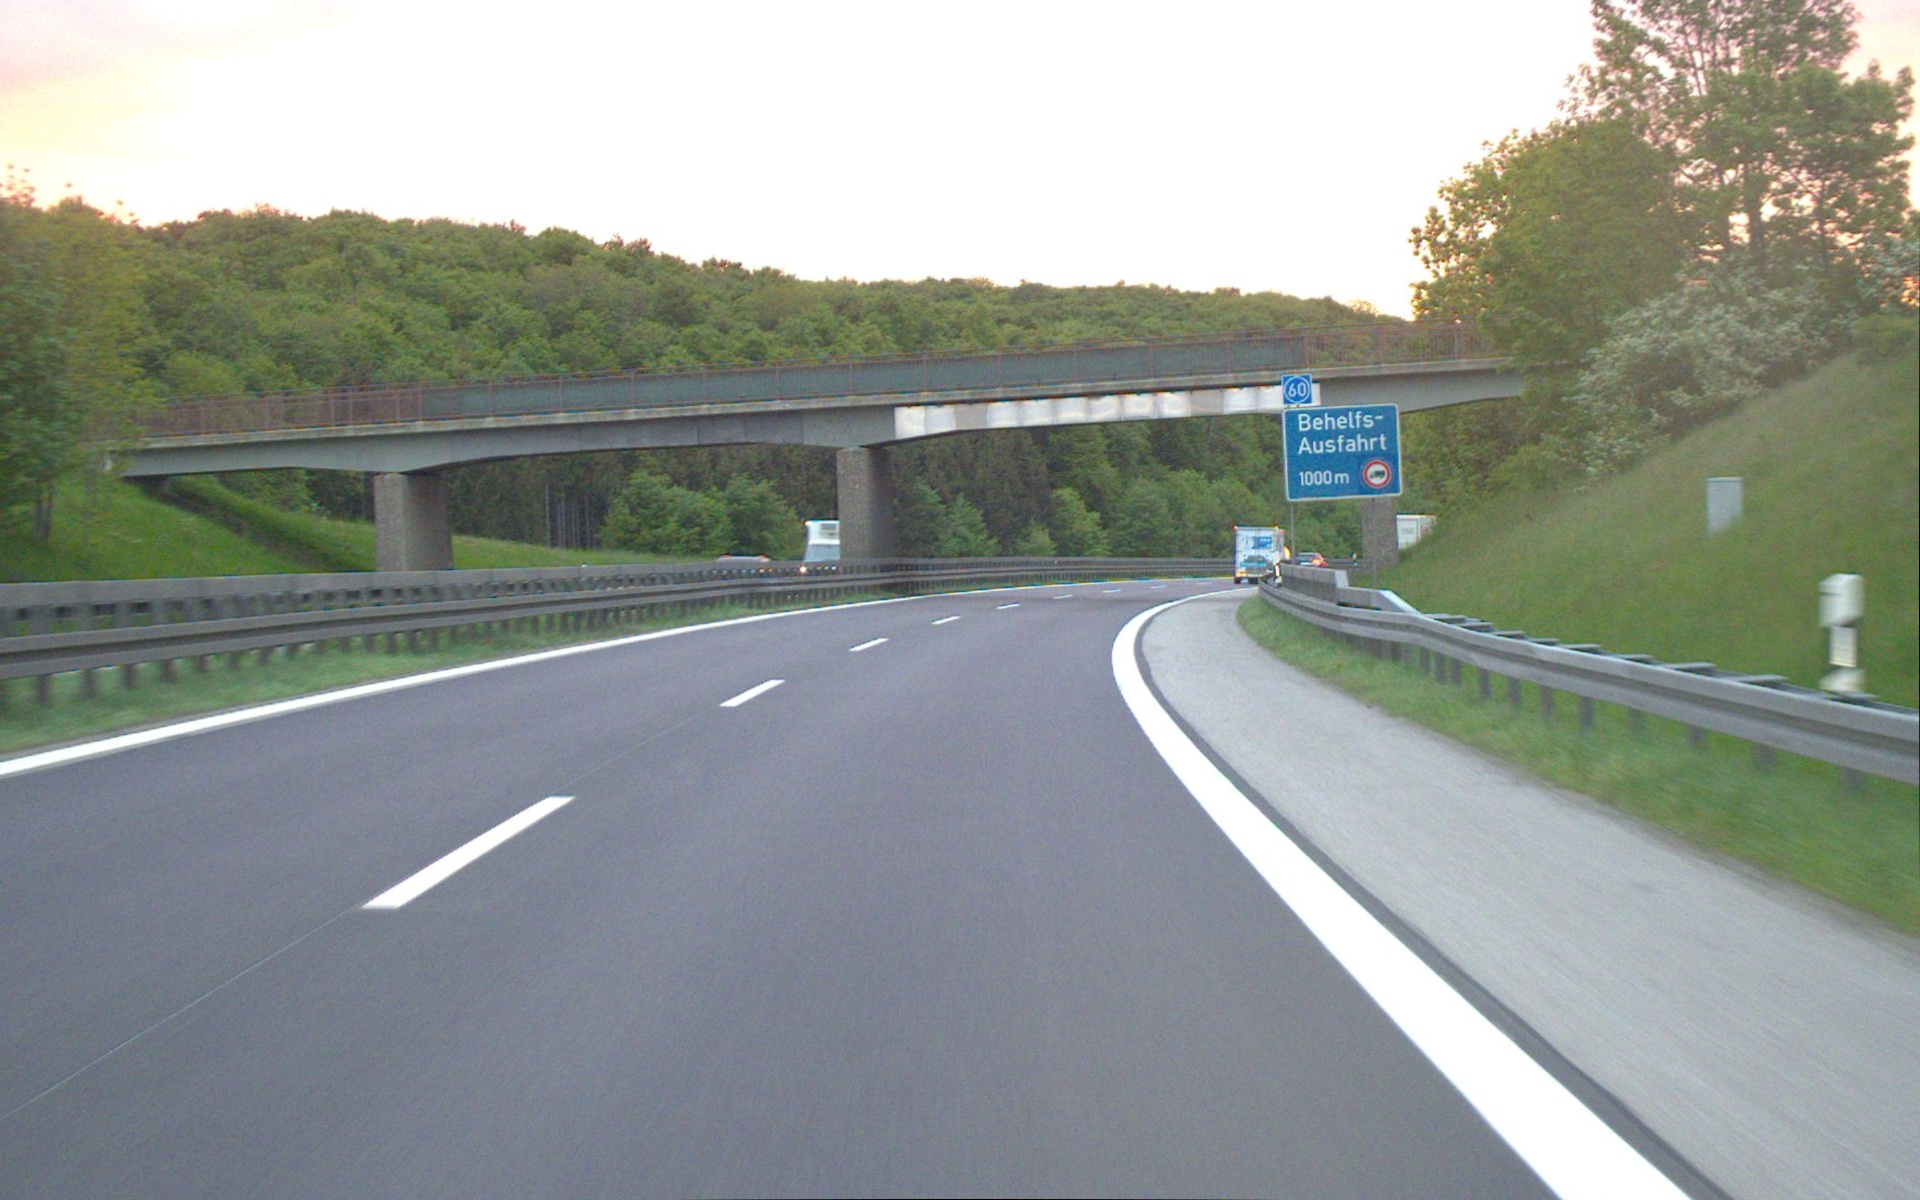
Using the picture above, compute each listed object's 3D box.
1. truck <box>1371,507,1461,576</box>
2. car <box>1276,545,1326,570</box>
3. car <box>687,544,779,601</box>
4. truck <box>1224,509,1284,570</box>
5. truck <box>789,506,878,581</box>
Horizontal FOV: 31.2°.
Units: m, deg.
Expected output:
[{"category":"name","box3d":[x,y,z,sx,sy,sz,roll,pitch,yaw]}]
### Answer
[{"category":"truck","box3d":[29.856,-3.833,224.299,3.961,4.272,14.313,0,1,15]},{"category":"car","box3d":[20.770,-2.604,209.350,1.996,1.512,3.996,0,1,21]},{"category":"car","box3d":[-7.013,-0.859,106.667,1.776,1.709,4.635,0,1,10]},{"category":"truck","box3d":[13.744,-2.860,160.385,2.277,2.656,5.234,-2,2,10]},{"category":"truck","box3d":[-5.349,-2.410,146.030,2.613,3.099,6.667,1,1,8]}]
